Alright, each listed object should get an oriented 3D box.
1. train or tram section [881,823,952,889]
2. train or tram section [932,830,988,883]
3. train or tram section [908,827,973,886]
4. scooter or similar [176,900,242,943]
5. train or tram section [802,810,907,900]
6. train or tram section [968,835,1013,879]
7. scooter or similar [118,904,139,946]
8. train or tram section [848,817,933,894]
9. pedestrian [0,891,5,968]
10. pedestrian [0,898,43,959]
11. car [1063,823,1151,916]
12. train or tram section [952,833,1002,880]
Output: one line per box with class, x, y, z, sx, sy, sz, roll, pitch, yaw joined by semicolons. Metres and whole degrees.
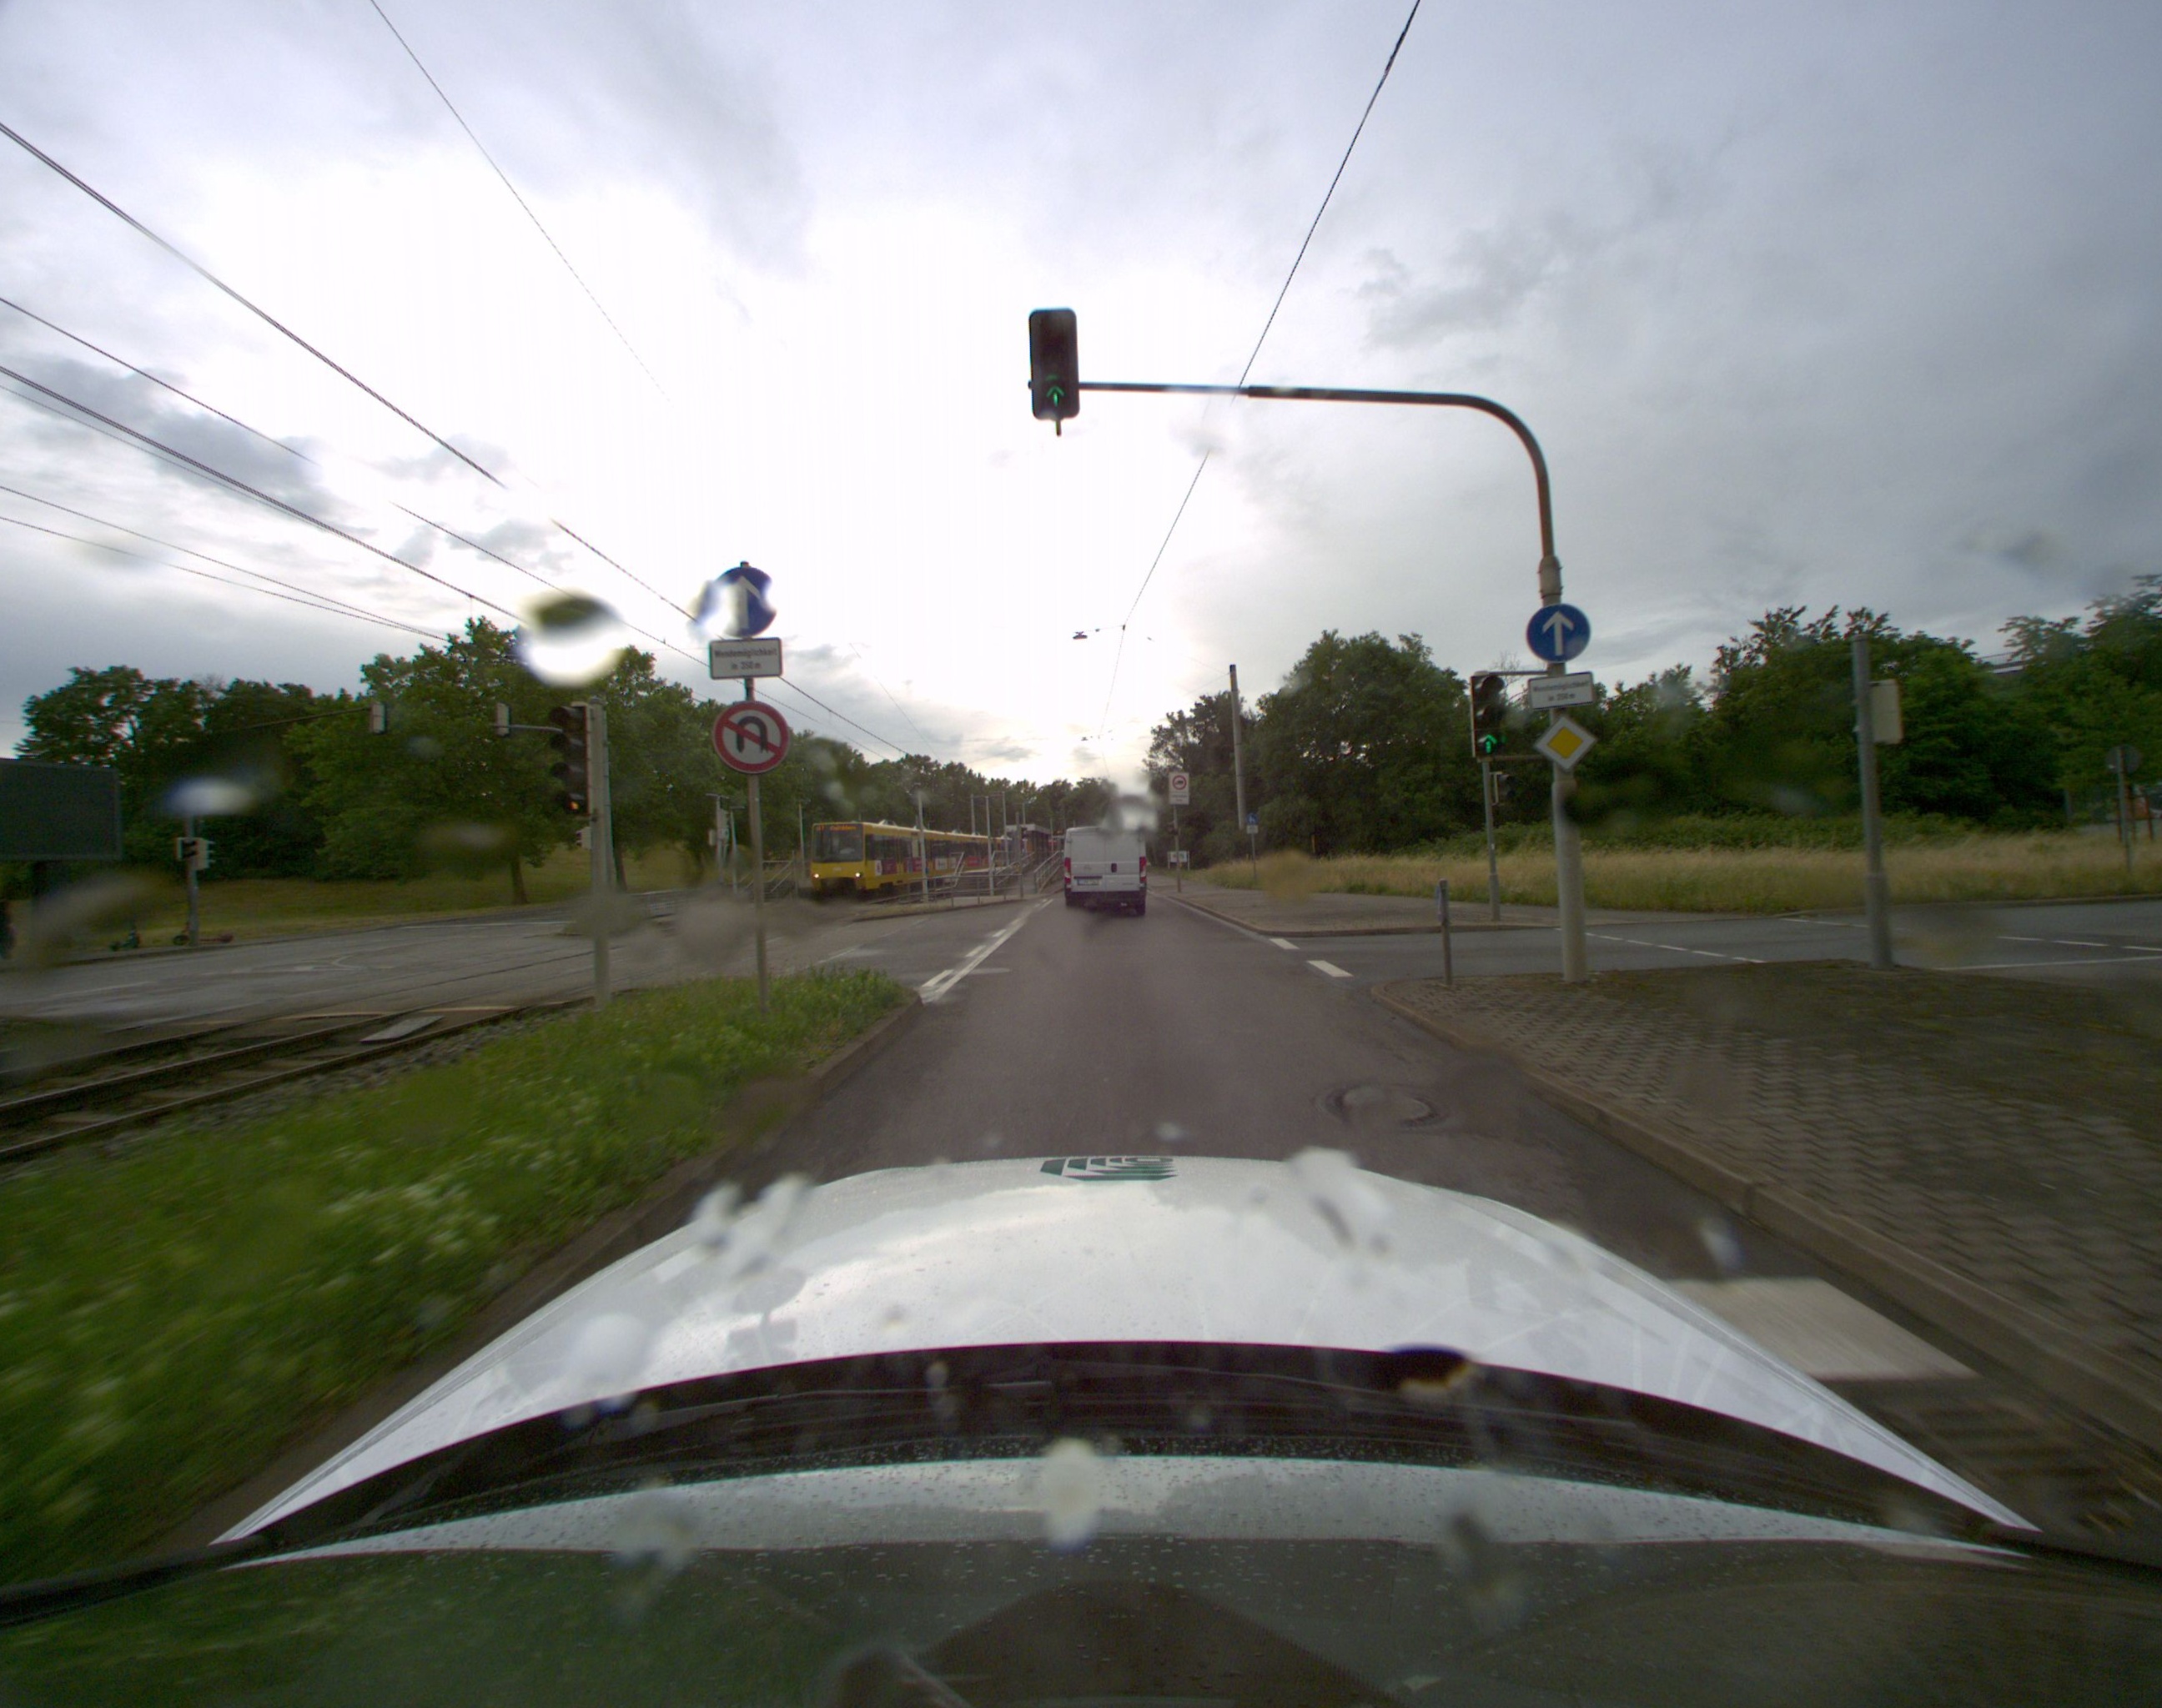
train or tram section;-10.329;0.135;51.890;2.918;3.933;7.007;0;0;1
train or tram section;-9.504;0.207;64.741;2.915;3.933;7.013;0;0;4
train or tram section;-9.971;0.173;58.518;2.915;3.933;7.013;0;0;4
scooter or similar;-26.162;2.001;24.452;0.375;1.161;1.288;-3;0;44
train or tram section;-10.669;0.060;39.130;2.918;3.933;7.007;0;0;1
train or tram section;-8.537;0.278;77.545;2.915;3.933;7.013;0;0;4
scooter or similar;-27.231;2.023;23.282;0.290;1.161;0.759;-3;0;-45
train or tram section;-10.492;0.098;45.645;2.918;3.933;7.007;0;0;1
pedestrian;-25.311;1.753;18.532;0.504;1.787;0.833;0;-1;4
pedestrian;-26.826;1.863;20.473;0.494;1.473;0.722;0;-1;1
car;0.612;0.371;22.103;2.084;2.196;5.059;-1;0;0
train or tram section;-9.015;0.244;71.317;2.915;3.933;7.013;0;0;4
